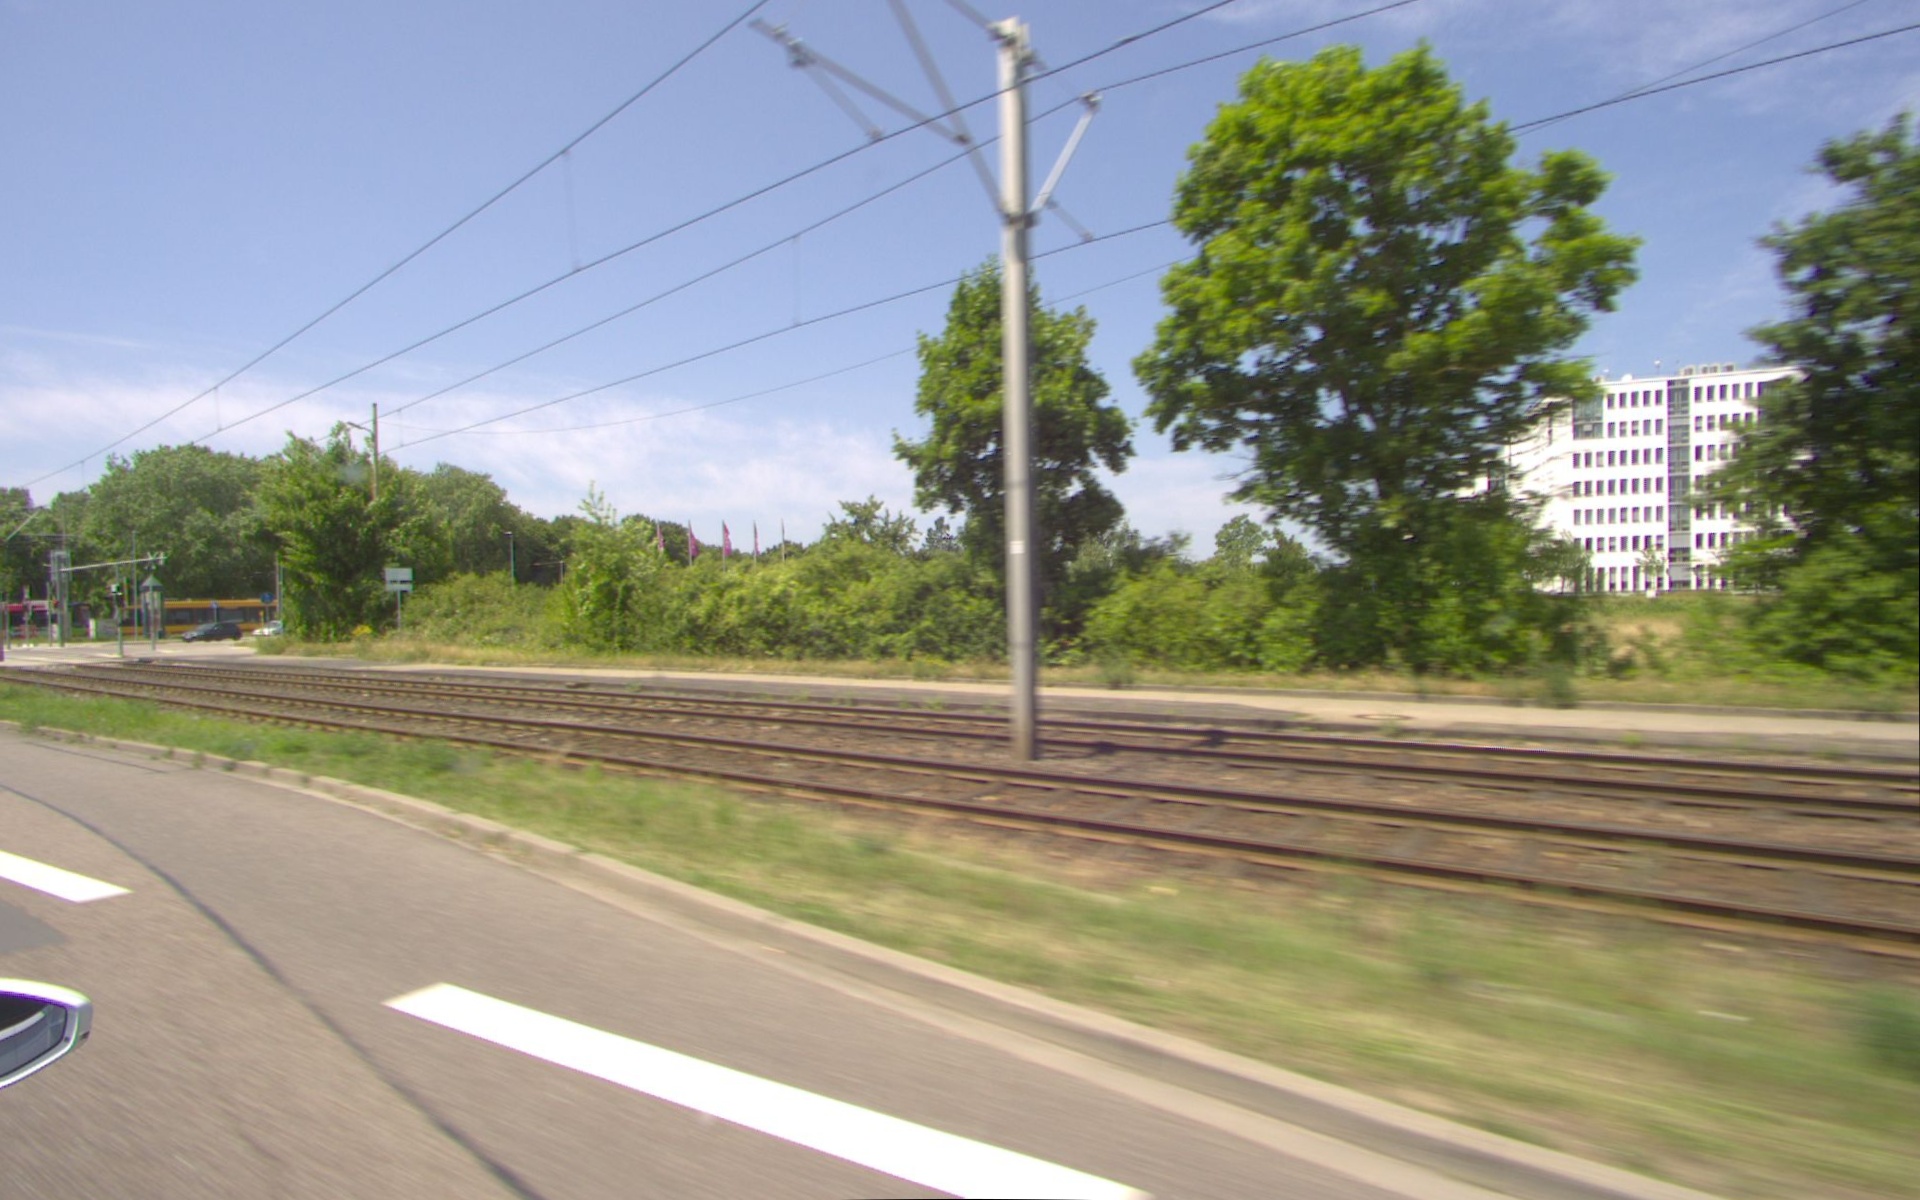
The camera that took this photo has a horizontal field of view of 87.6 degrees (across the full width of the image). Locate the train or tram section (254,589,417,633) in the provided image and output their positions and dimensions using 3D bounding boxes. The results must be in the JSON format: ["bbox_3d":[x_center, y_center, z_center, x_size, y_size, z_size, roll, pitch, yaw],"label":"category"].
[{"bbox_3d":[-62.816,1.115,101.315,2.888,3.967,13.874,-4,-3,36],"label":"train or tram section"}]

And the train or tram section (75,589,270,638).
[{"bbox_3d":[-71.949,1.173,92.119,13.866,3.967,2.905,-1,-3,-36],"label":"train or tram section"}]

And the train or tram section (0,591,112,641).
[{"bbox_3d":[-82.232,1.503,86.716,13.216,3.858,2.921,-2,-2,-17],"label":"train or tram section"}]

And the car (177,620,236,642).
[{"bbox_3d":[-56.564,2.286,75.254,1.608,1.482,3.507,-1,1,5],"label":"car"}]

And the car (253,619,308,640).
[{"bbox_3d":[-53.040,2.293,78.247,1.608,1.482,3.806,-1,0,1],"label":"car"}]
